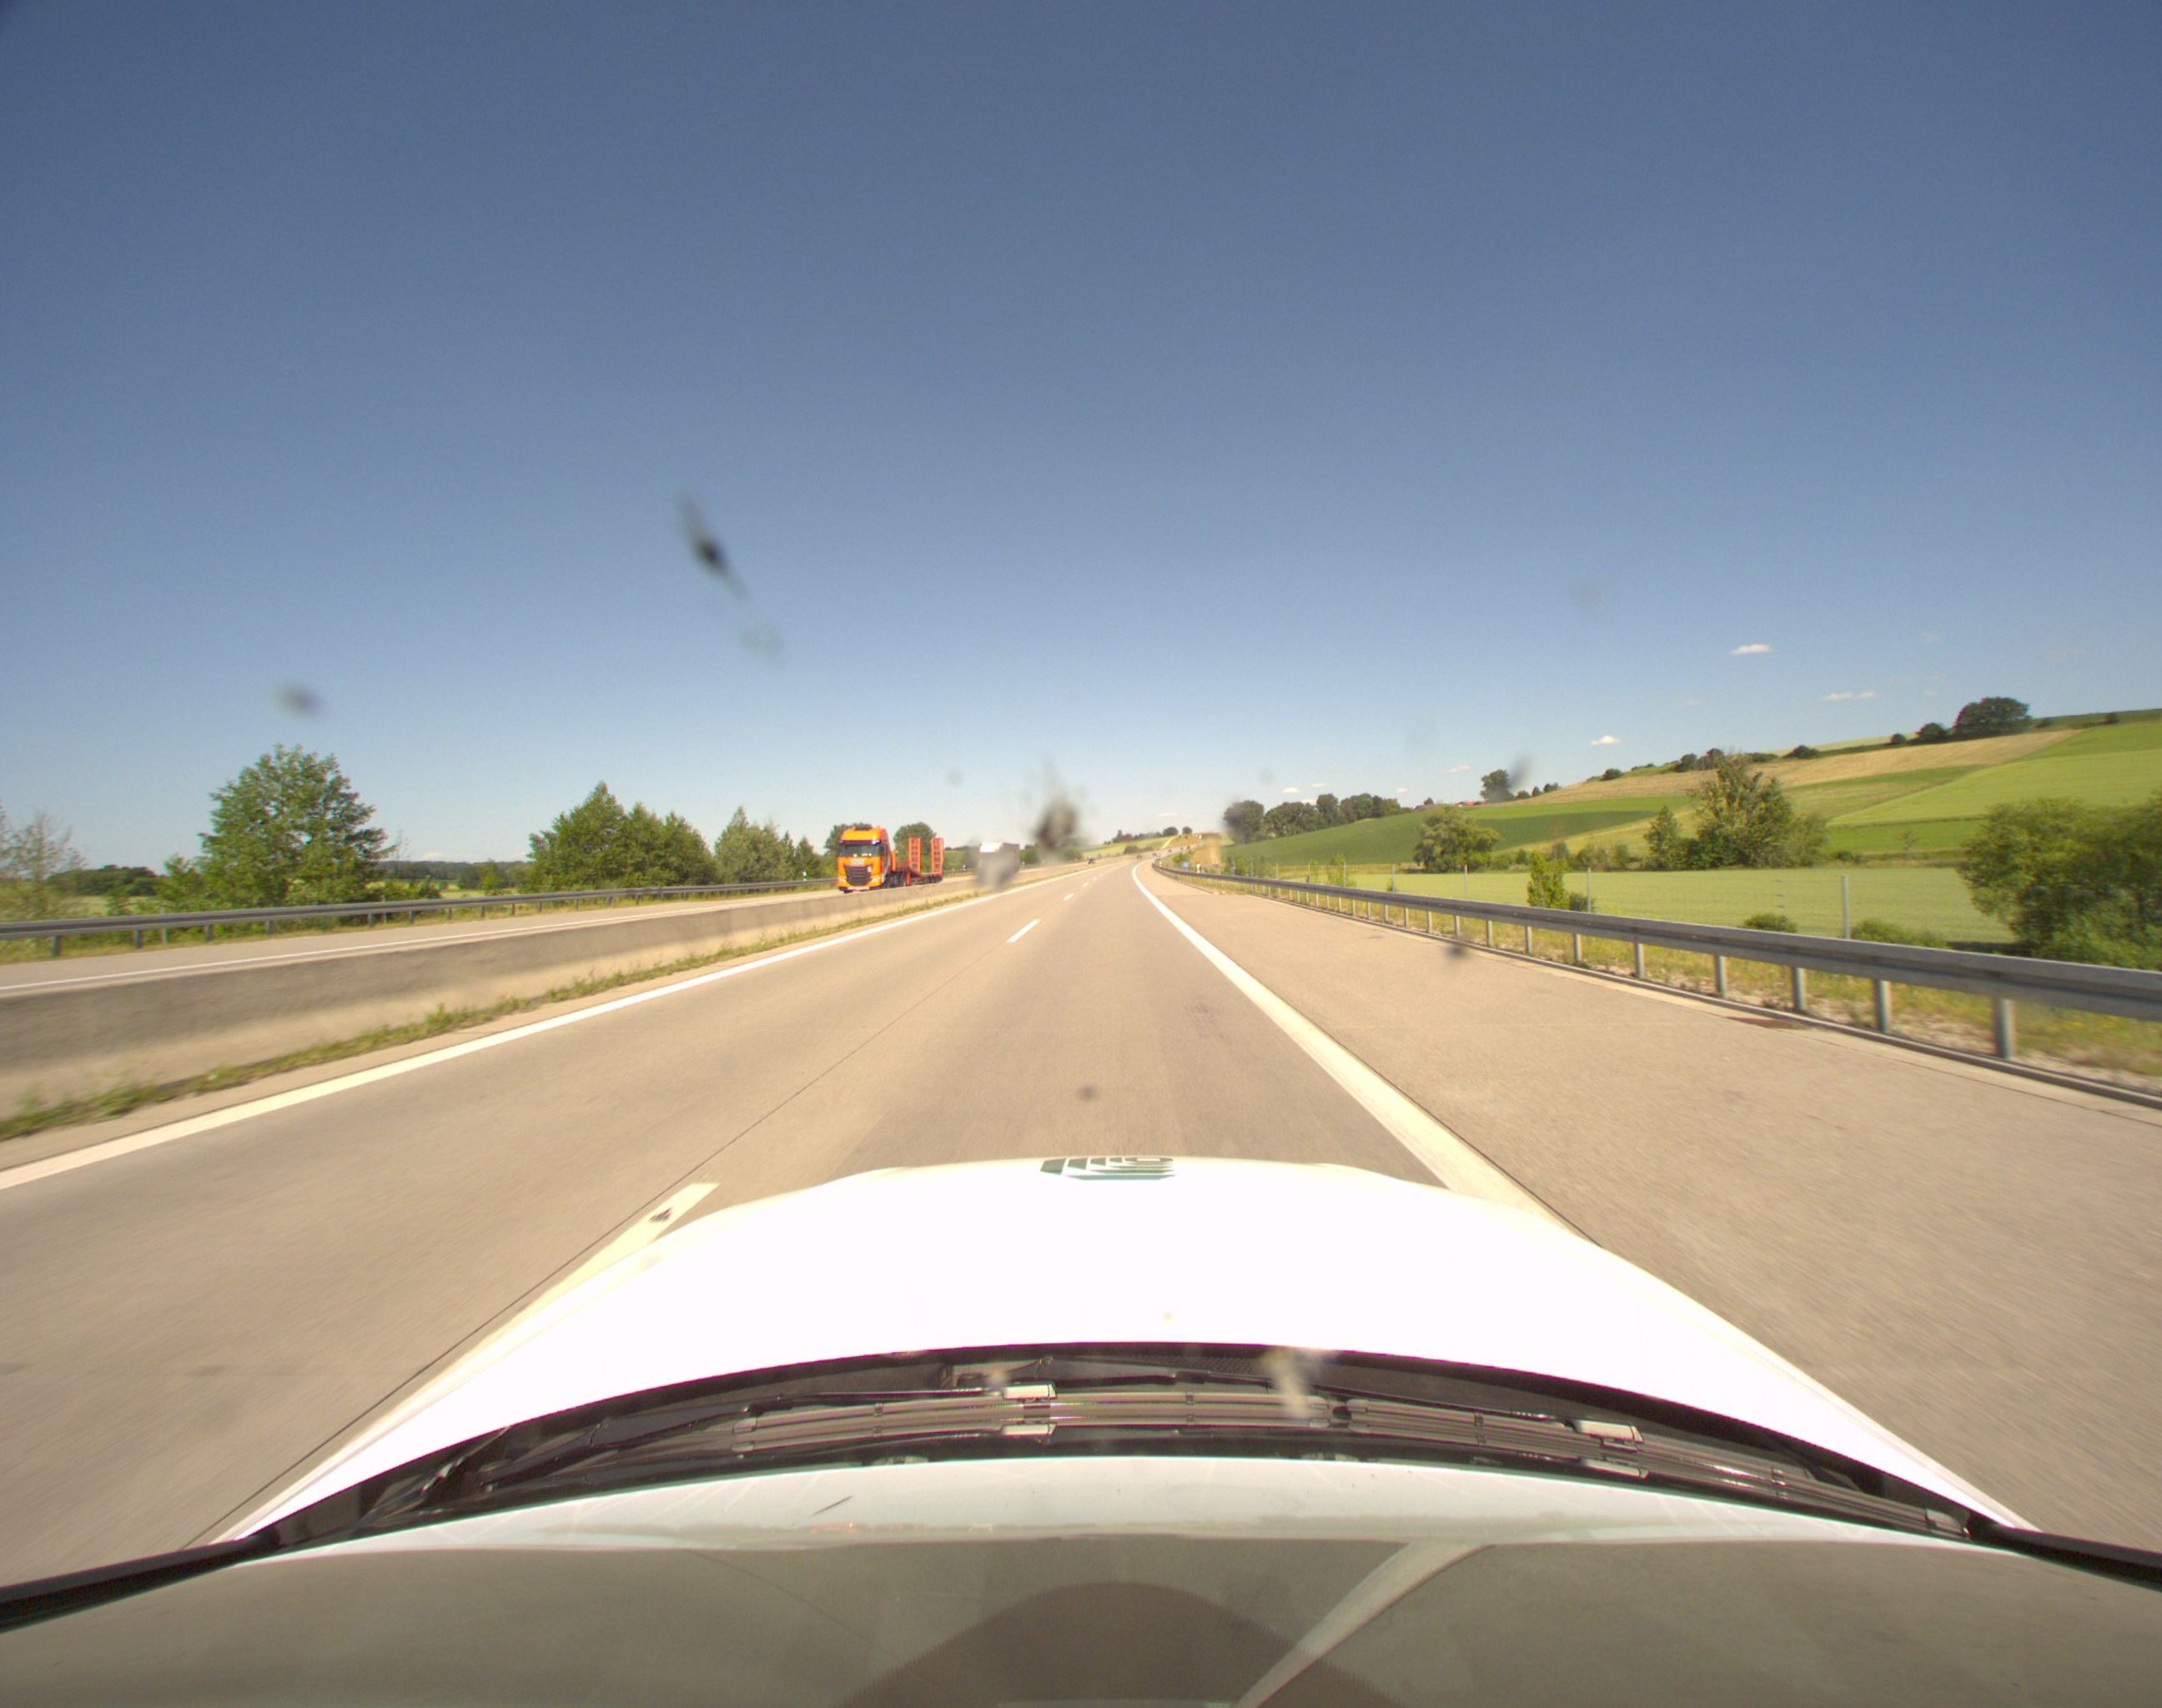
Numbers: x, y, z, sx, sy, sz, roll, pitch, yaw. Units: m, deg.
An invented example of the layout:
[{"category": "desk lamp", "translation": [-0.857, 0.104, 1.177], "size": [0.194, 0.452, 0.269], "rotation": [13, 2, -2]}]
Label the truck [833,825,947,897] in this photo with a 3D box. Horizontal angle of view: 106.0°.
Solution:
[{"category": "truck", "translation": [-12.170, 0.514, 54.405], "size": [2.856, 4.016, 17.123], "rotation": [-1, -1, 2]}]

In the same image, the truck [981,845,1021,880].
[{"category": "truck", "translation": [-9.994, 1.108, 103.305], "size": [2.848, 4.008, 13.877], "rotation": [-2, -1, 3]}]

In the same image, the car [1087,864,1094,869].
[{"category": "car", "translation": [2.698, 3.587, 233.283], "size": [1.703, 1.589, 4.630], "rotation": [0, -1, 3]}]

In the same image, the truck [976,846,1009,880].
[{"category": "truck", "translation": [-10.376, 1.072, 95.900], "size": [2.849, 3.873, 5.987], "rotation": [-2, -1, 3]}]
